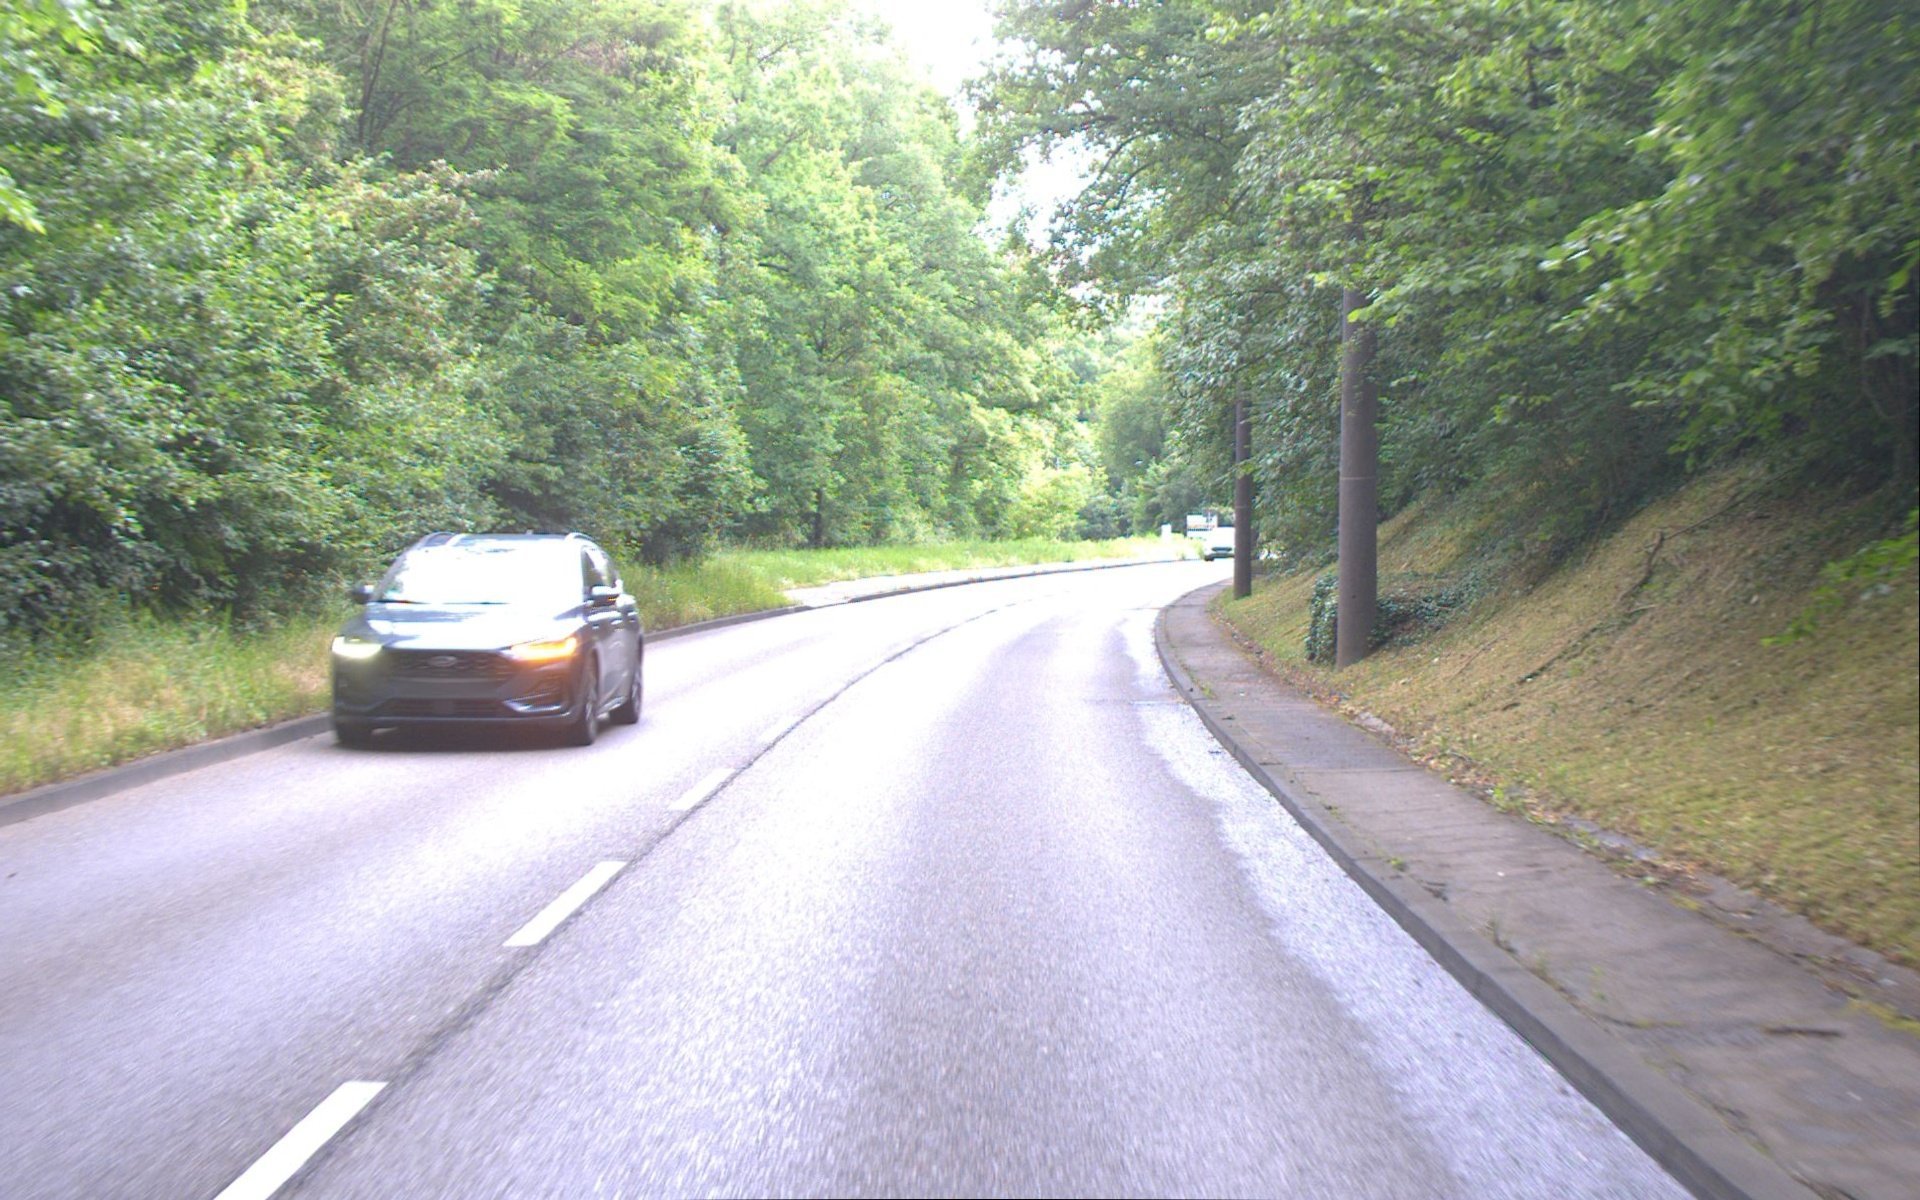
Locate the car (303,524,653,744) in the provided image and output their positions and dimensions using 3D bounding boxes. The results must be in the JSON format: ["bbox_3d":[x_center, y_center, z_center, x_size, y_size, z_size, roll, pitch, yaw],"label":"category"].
[{"bbox_3d":[-3.427,0.217,25.172,1.993,1.432,4.000,2,0,0],"label":"car"}]

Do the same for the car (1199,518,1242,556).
[{"bbox_3d":[13.043,-3.141,171.730,1.994,1.747,4.781,2,0,6],"label":"car"}]
